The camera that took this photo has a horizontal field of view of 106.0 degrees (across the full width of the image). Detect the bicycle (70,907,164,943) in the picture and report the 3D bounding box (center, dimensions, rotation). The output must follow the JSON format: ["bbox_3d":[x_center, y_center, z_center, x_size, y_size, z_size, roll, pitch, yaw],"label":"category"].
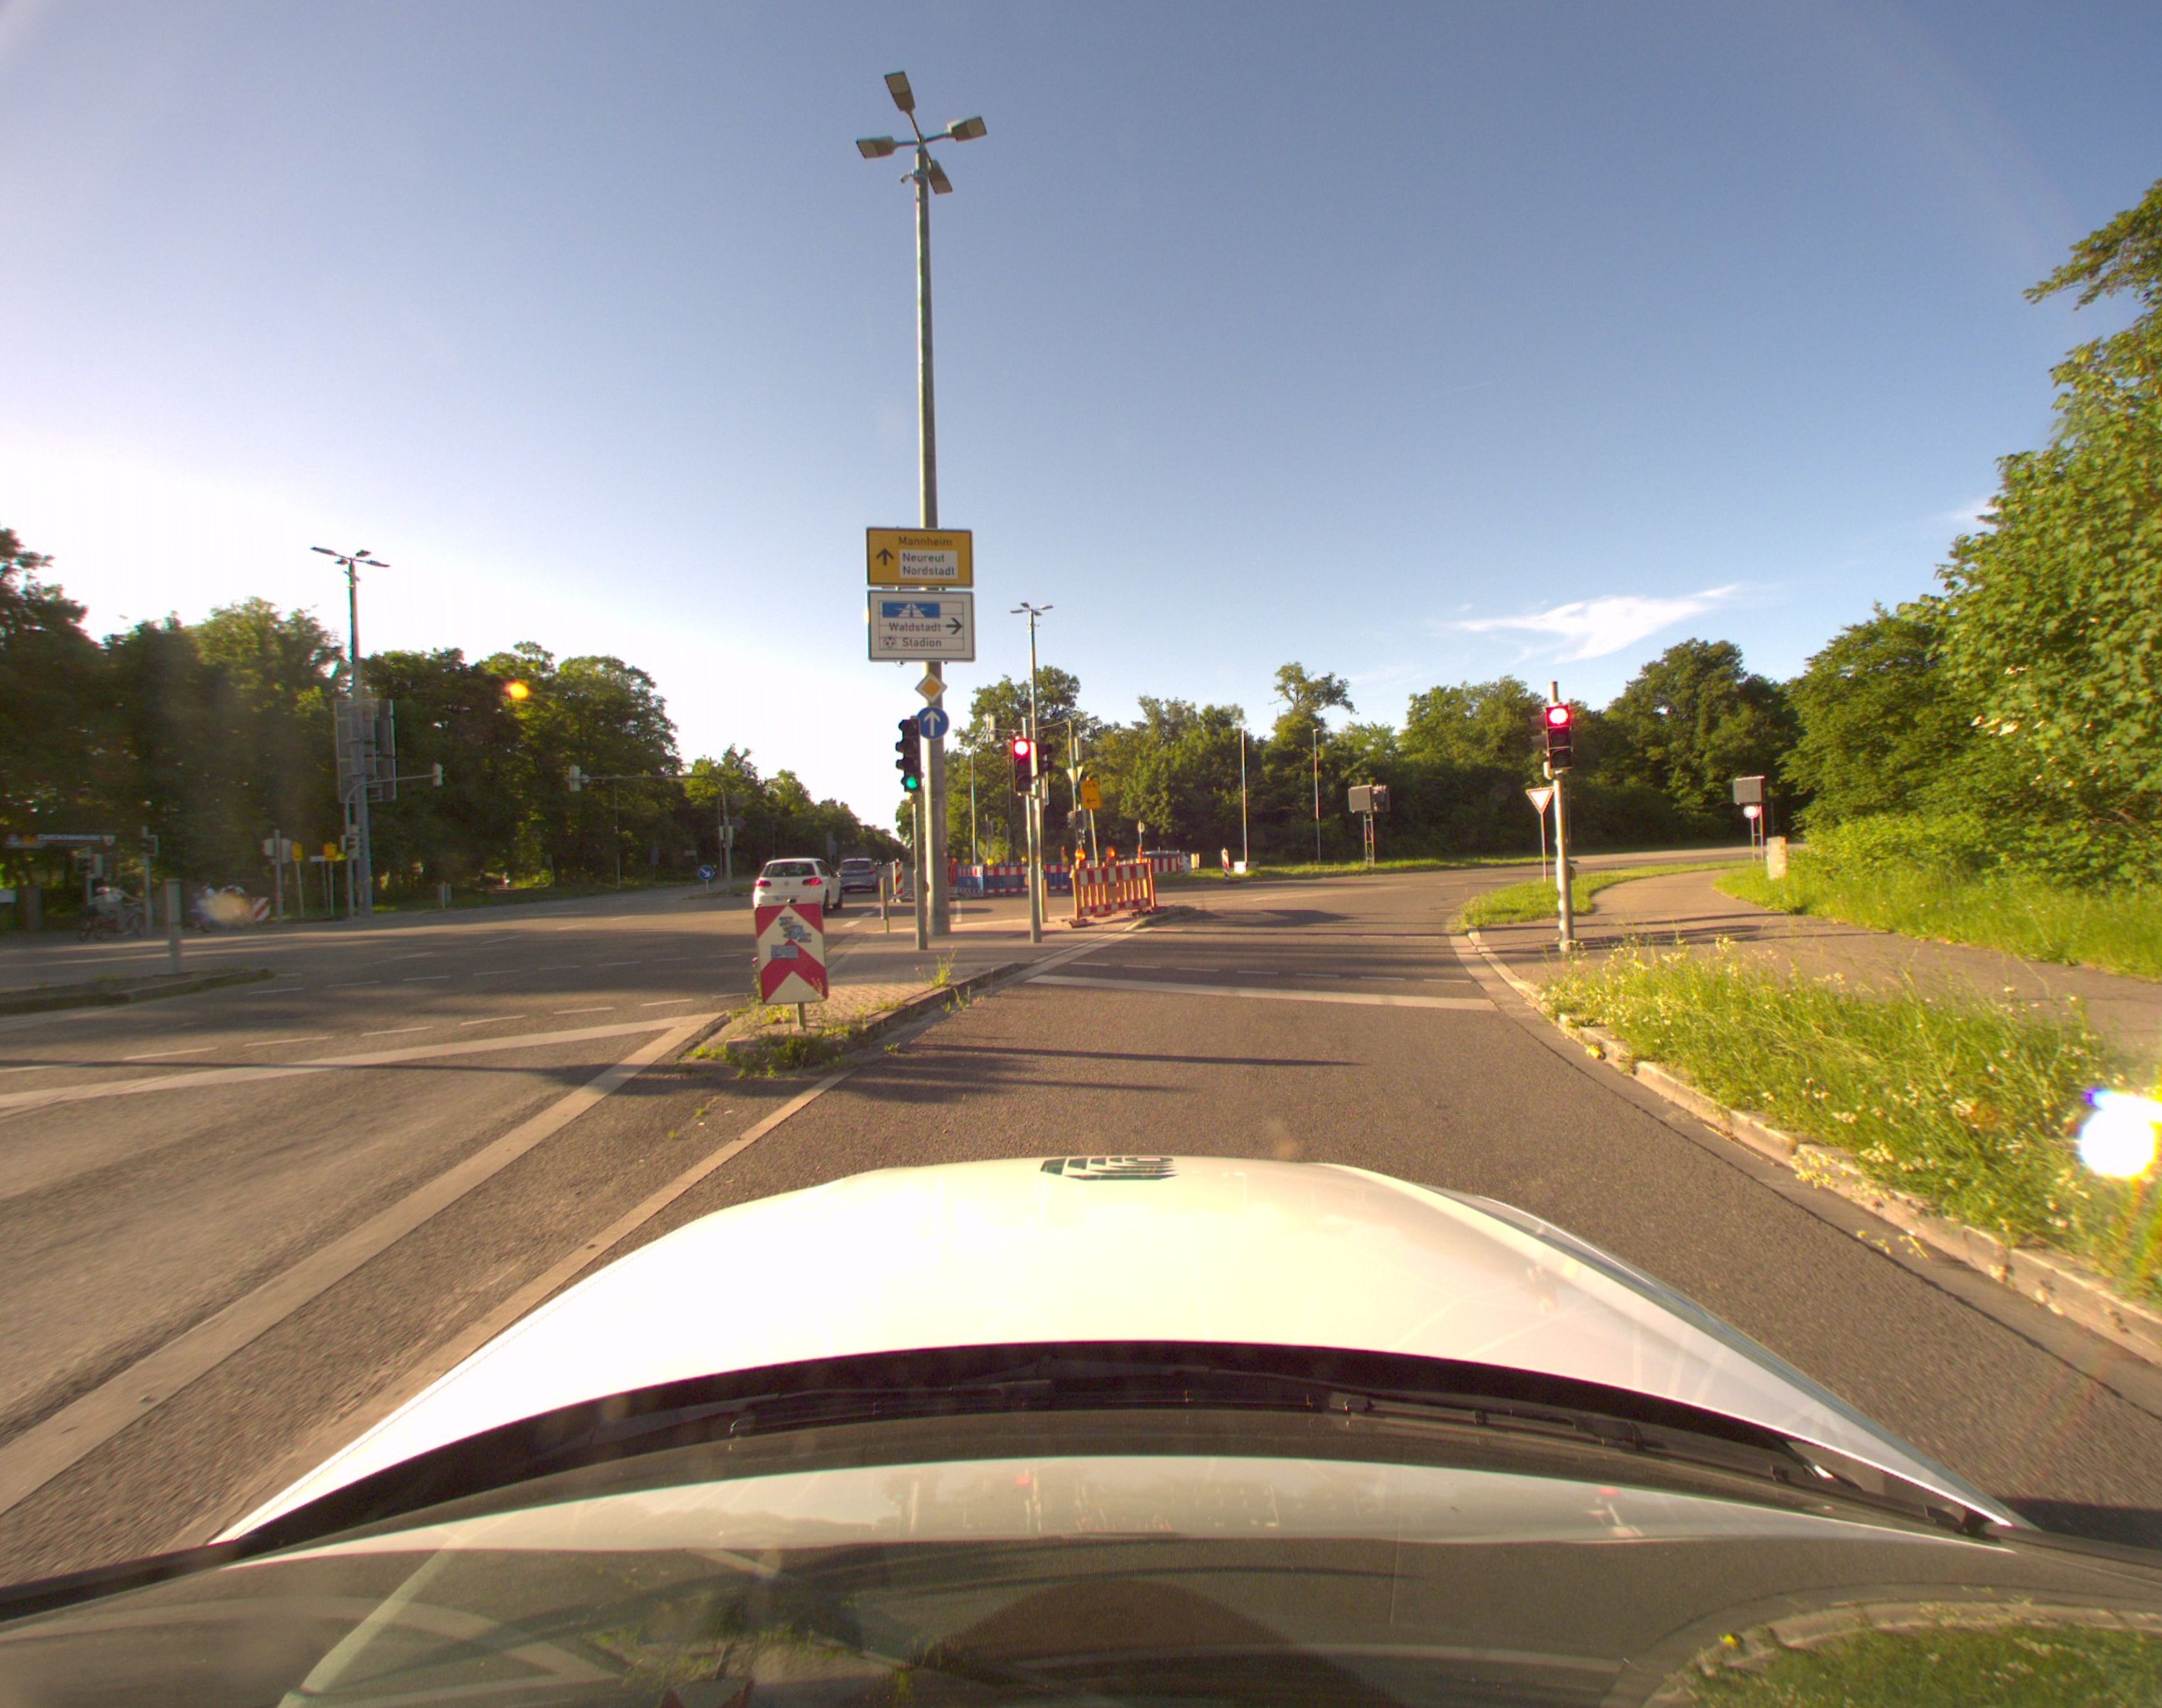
[{"bbox_3d":[-29.851,2.183,25.274,0.714,0.914,1.907,-2,0,-5],"label":"bicycle"}]

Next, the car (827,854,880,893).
[{"bbox_3d":[-9.949,0.841,35.910,1.996,1.536,3.982,-2,0,-13],"label":"car"}]

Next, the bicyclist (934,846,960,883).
[{"bbox_3d":[-7.153,0.548,43.462,1.021,1.930,0.957,-1,0,-41],"label":"bicyclist"}]

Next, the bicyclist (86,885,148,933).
[{"bbox_3d":[-29.870,1.702,25.240,0.709,1.389,0.988,-2,0,-6],"label":"bicyclist"}]

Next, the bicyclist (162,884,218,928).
[{"bbox_3d":[-28.750,1.665,26.298,0.714,1.355,0.988,-2,0,-6],"label":"bicyclist"}]

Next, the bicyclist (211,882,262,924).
[{"bbox_3d":[-28.943,1.658,27.920,0.714,1.342,0.988,-2,0,-6],"label":"bicyclist"}]

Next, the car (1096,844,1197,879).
[{"bbox_3d":[3.388,0.382,41.792,4.849,1.580,1.980,-2,0,-31],"label":"car"}]

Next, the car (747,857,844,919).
[{"bbox_3d":[-7.465,0.825,21.669,1.942,1.414,3.982,-2,0,-13],"label":"car"}]

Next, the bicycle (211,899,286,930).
[{"bbox_3d":[-28.968,2.098,28.375,0.714,0.914,1.907,-2,0,-5],"label":"bicycle"}]

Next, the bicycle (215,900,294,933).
[{"bbox_3d":[-26.870,2.022,26.527,0.714,0.914,1.907,-2,0,-5],"label":"bicycle"}]

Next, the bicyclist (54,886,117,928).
[{"bbox_3d":[-30.783,1.619,25.207,0.714,1.192,0.988,-2,0,-6],"label":"bicyclist"}]

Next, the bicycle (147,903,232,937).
[{"bbox_3d":[-28.735,2.099,26.300,0.714,0.914,1.907,-2,0,-5],"label":"bicycle"}]

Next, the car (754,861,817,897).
[{"bbox_3d":[-13.109,1.054,36.330,1.863,1.444,3.988,-1,0,-9],"label":"car"}]

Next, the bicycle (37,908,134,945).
[{"bbox_3d":[-30.758,2.211,25.205,0.714,0.914,1.907,-2,1,-5],"label":"bicycle"}]

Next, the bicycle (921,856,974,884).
[{"bbox_3d":[-7.109,0.842,43.485,2.654,1.383,0.957,-1,0,-41],"label":"bicycle"}]

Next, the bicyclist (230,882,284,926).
[{"bbox_3d":[-26.887,1.628,26.586,0.714,1.339,0.988,-2,0,-6],"label":"bicyclist"}]
